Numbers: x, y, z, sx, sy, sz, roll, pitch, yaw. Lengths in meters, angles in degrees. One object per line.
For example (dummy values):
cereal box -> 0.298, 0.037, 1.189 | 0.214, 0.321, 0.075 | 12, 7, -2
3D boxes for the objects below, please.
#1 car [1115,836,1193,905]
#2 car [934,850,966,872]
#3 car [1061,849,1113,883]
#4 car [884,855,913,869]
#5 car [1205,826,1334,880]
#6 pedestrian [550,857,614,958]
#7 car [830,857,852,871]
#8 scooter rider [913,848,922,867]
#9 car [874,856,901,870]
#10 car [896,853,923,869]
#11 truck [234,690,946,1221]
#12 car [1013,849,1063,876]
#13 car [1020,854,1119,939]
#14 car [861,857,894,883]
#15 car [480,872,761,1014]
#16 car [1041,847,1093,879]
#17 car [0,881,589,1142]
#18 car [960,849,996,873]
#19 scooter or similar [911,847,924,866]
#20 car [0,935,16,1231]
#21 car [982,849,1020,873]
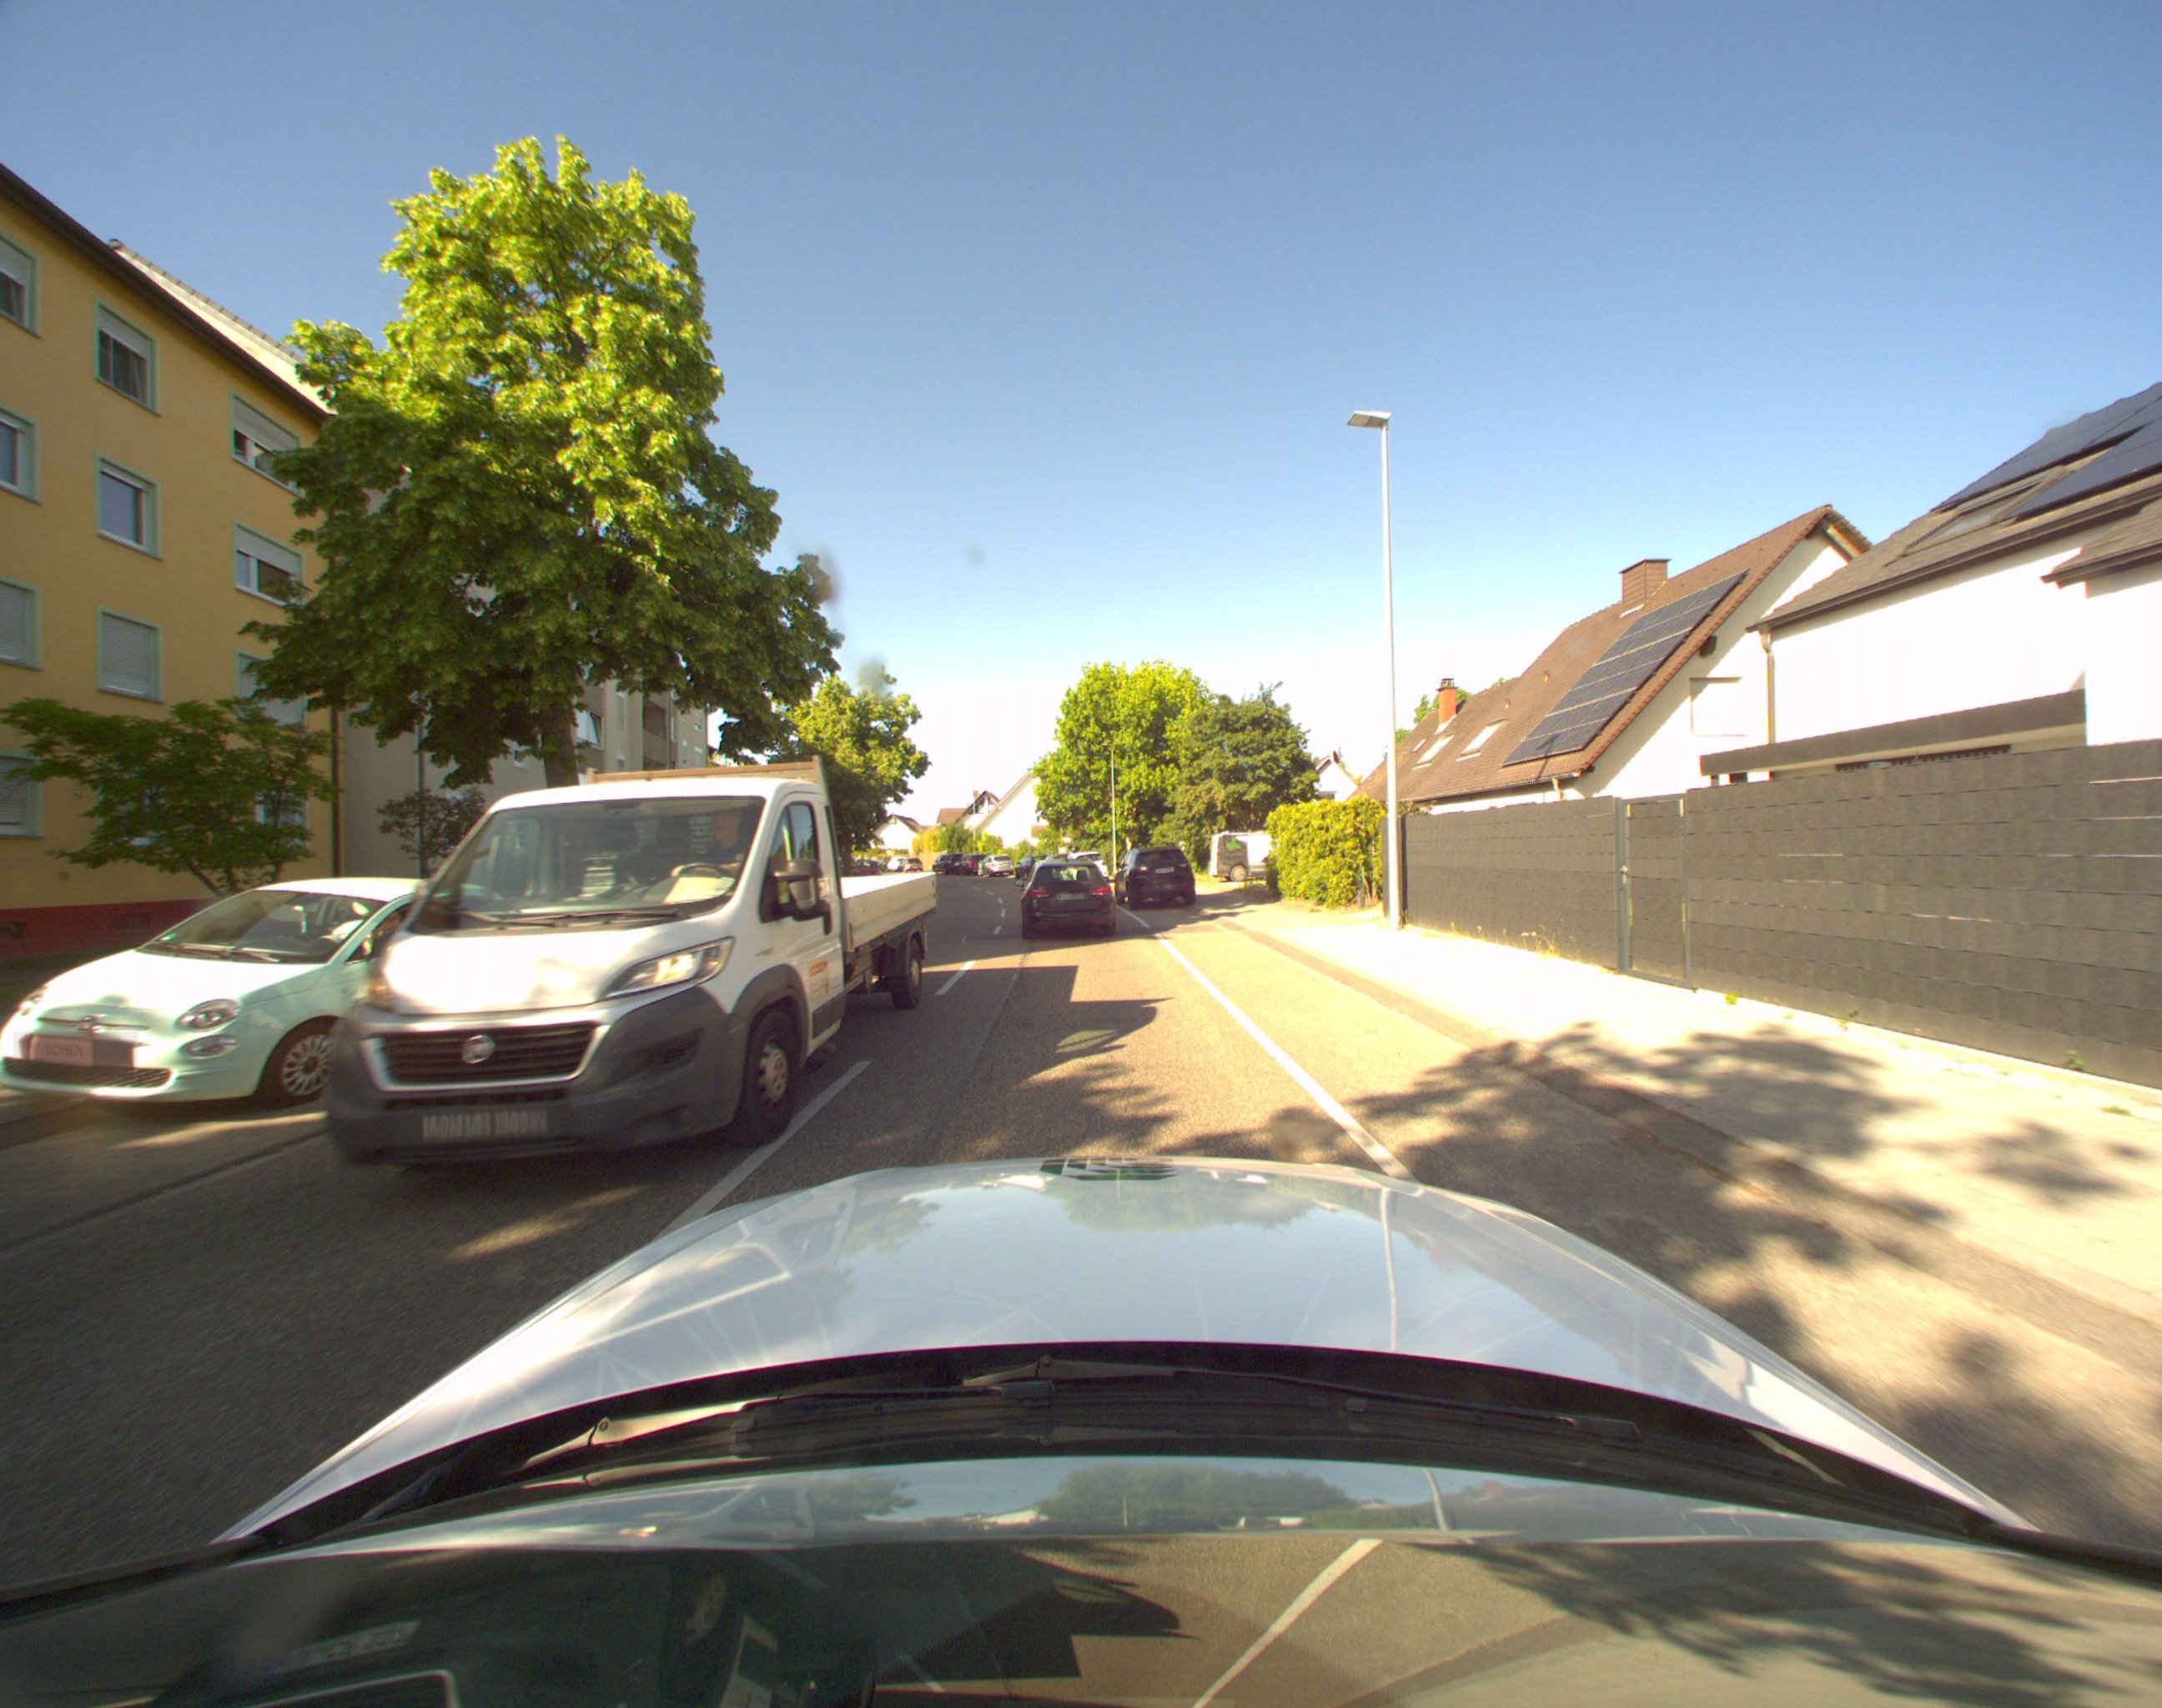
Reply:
car -> 1.974, 0.431, 23.141 | 1.772, 1.724, 4.293 | -2, 0, 0
car -> -10.907, 0.592, 67.717 | 1.909, 1.666, 4.164 | -1, 0, -19
car -> 0.242, 0.549, 38.802 | 1.760, 1.480, 4.280 | -2, 0, -9
car -> -19.192, 0.823, 85.441 | 1.927, 1.407, 4.255 | -1, 0, -28
car -> 7.523, -0.030, 32.804 | 4.667, 1.984, 2.142 | -2, -1, -1
pedestrian -> -8.884, 0.941, 14.521 | 0.683, 1.718, 0.720 | -2, -2, -1
car -> -32.048, 1.377, 108.544 | 2.017, 1.724, 4.256 | -1, -1, -27
scooter rider -> -17.942, 0.379, 89.320 | 0.689, 2.014, 0.813 | -1, -2, -26
car -> -21.312, 0.977, 89.649 | 1.927, 1.407, 4.255 | -1, 0, -28
car -> -16.819, 0.713, 79.736 | 1.924, 1.407, 4.262 | -1, 0, -22
truck -> -2.758, 0.457, 6.927 | 2.123, 2.334, 6.440 | -2, 0, -1
car -> -2.620, 0.524, 48.706 | 2.010, 1.475, 4.270 | -2, 0, -17
car -> -0.222, 0.770, 16.590 | 1.756, 1.491, 4.289 | 0, -1, -1
car -> -12.573, 0.960, 50.087 | 1.693, 1.491, 4.265 | 0, -1, -18
car -> -6.211, 1.096, 11.602 | 1.652, 1.509, 4.001 | 0, 1, 1
car -> -0.812, 0.490, 43.611 | 1.914, 1.600, 4.274 | -2, 0, -13
car -> -6.310, 1.046, 7.090 | 1.697, 1.523, 4.047 | -2, -1, -3
car -> -7.931, 0.515, 62.585 | 2.011, 1.724, 4.268 | -2, 0, -17
scooter or similar -> -17.921, 0.309, 89.256 | 0.689, 2.014, 2.937 | -1, -2, -25
car -> -5.672, 1.052, 1.672 | 1.697, 1.480, 4.046 | 1, -2, -4
car -> -5.705, 0.513, 57.546 | 1.825, 1.534, 4.233 | -2, 0, -17
